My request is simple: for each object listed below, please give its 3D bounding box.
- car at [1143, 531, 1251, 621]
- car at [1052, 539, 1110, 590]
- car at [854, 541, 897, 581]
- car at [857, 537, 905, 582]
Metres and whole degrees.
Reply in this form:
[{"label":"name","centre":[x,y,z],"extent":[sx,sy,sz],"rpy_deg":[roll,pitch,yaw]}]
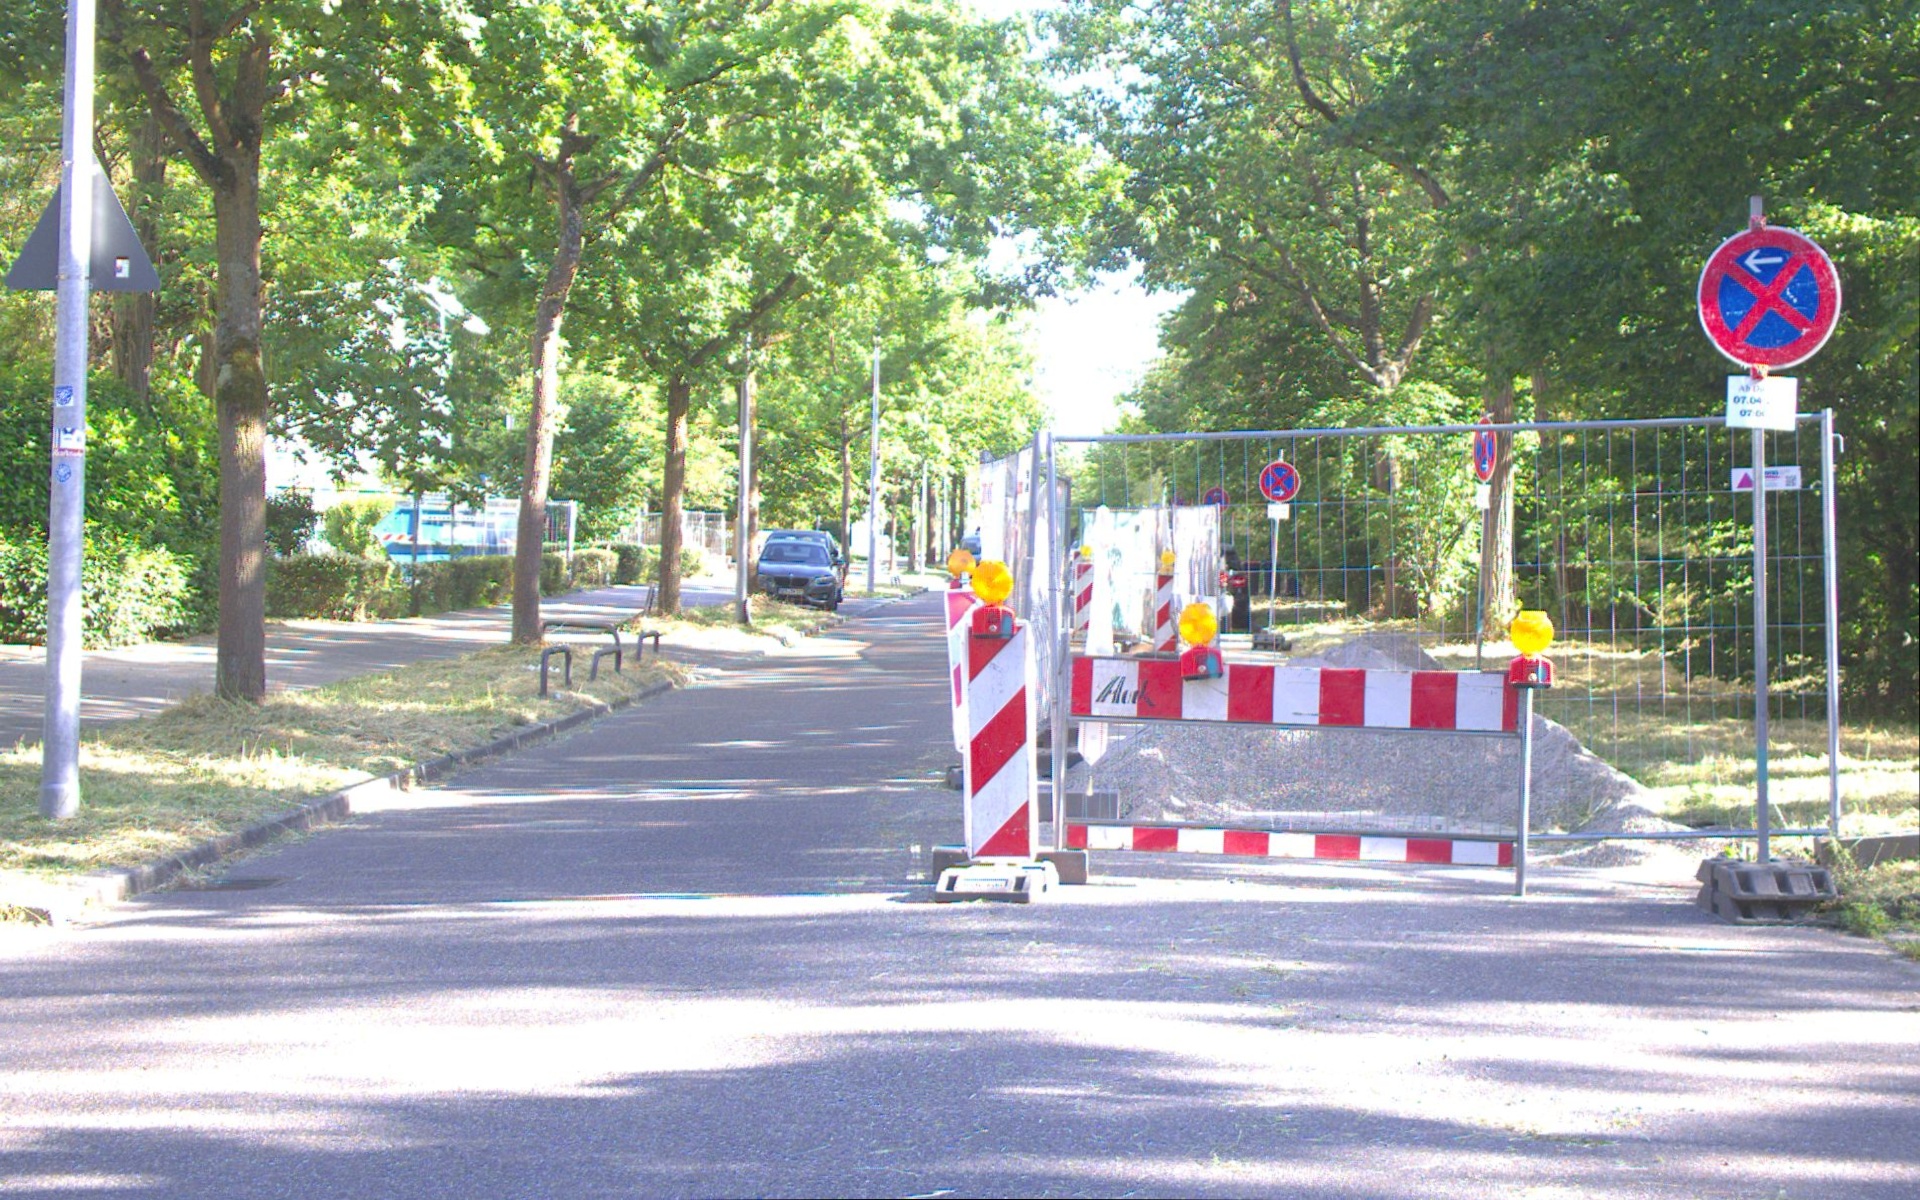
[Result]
[{"label":"car","centre":[4.363,-0.471,63.682],"extent":[1.753,1.590,3.657],"rpy_deg":[1,1,1]},{"label":"car","centre":[3.225,-0.941,92.041],"extent":[1.361,1.298,3.481],"rpy_deg":[2,0,0]},{"label":"car","centre":[-2.852,-1.307,116.557],"extent":[1.361,1.298,3.481],"rpy_deg":[2,0,0]},{"label":"car","centre":[-2.385,-1.219,104.803],"extent":[1.361,1.298,3.481],"rpy_deg":[2,0,0]}]
